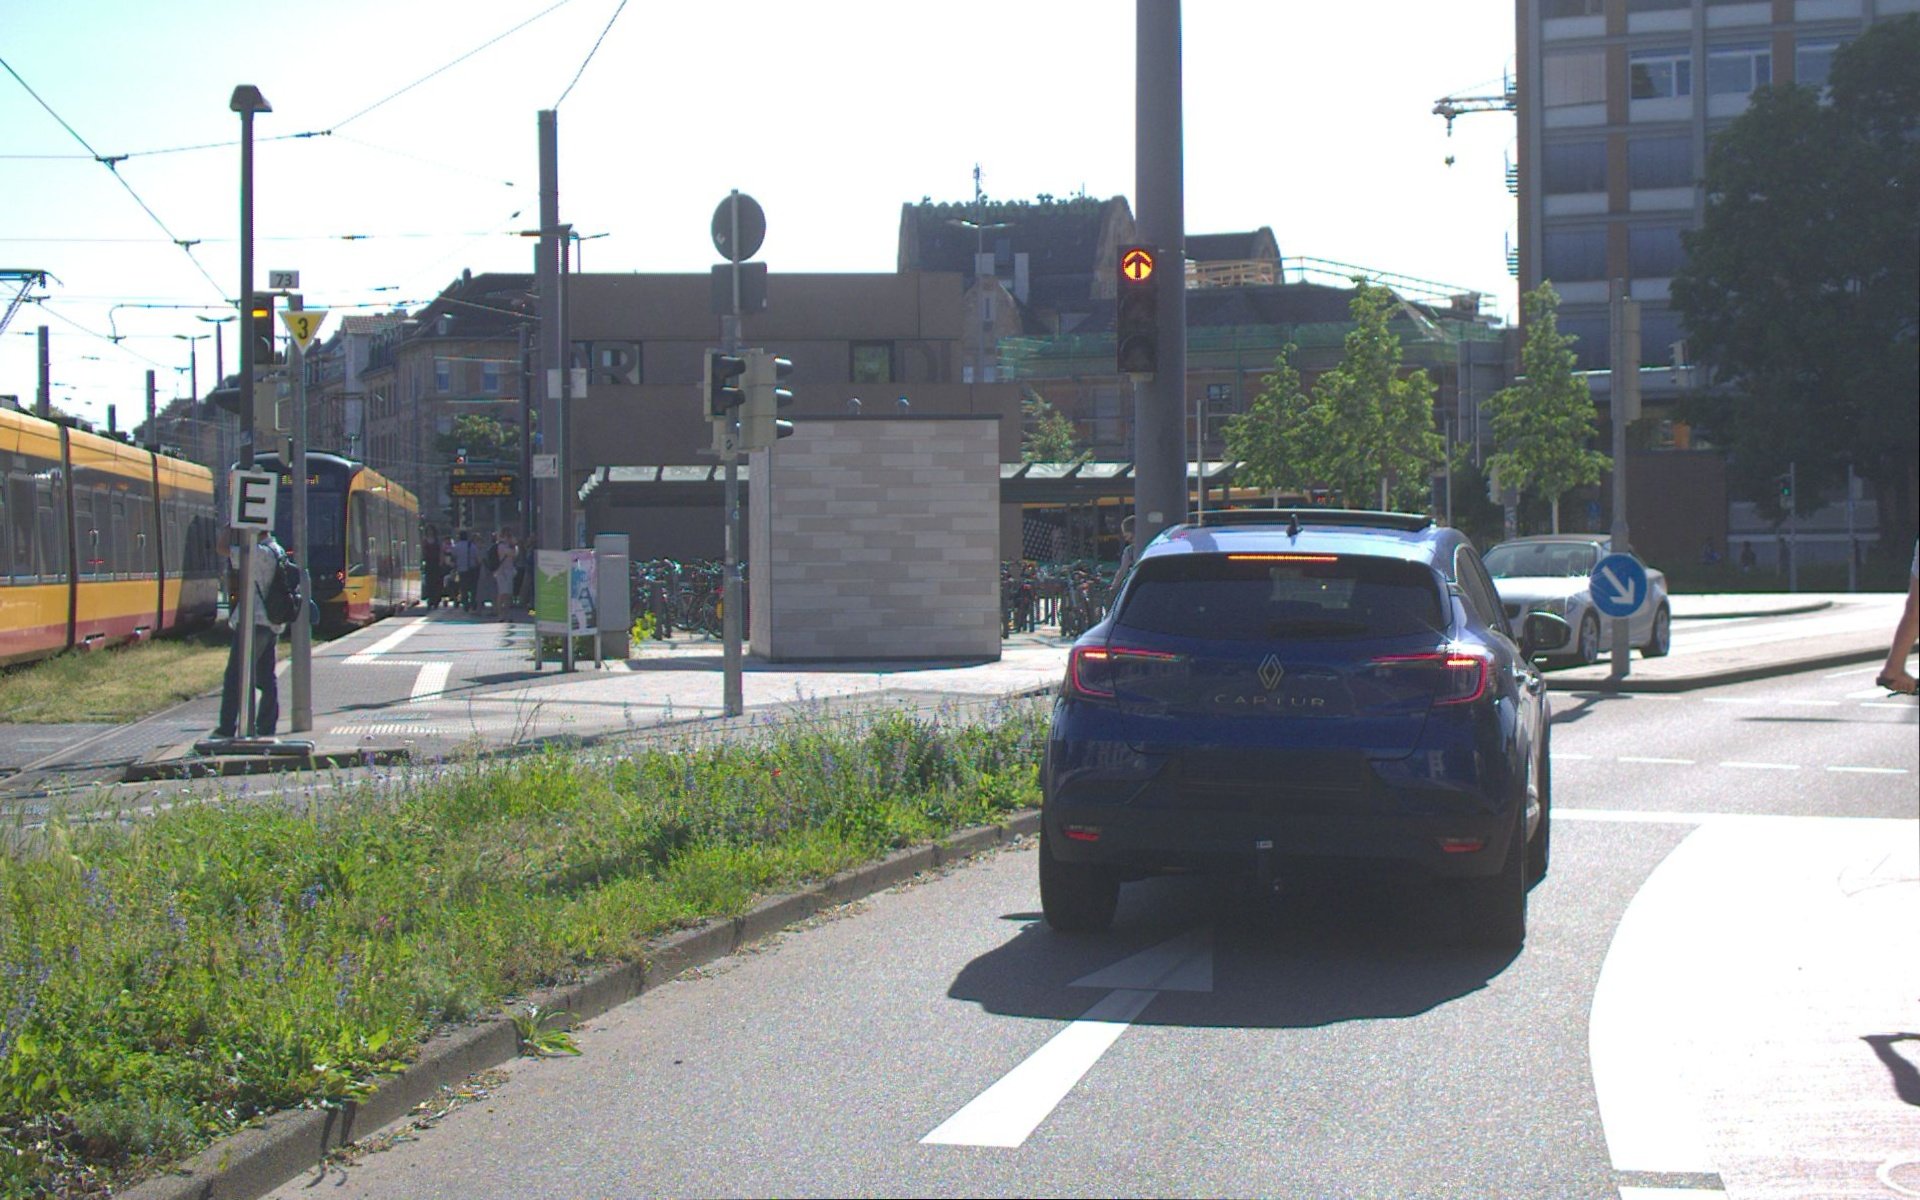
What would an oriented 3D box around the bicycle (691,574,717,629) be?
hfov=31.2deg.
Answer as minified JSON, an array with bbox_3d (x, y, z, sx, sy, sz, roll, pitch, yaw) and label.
[{"bbox_3d":[-4.537,0.019,60.915,0.421,0.934,1.379,1,1,-5],"label":"bicycle"}]

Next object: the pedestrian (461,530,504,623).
[{"bbox_3d":[-9.763,-0.471,70.287,0.847,1.877,0.761,1,0,-9],"label":"pedestrian"}]

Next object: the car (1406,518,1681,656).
[{"bbox_3d":[6.319,-0.166,36.897,1.802,1.388,4.087,0,1,26],"label":"car"}]

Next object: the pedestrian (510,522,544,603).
[{"bbox_3d":[-10.231,-0.883,81.177,0.739,1.911,0.743,1,0,-10],"label":"pedestrian"}]

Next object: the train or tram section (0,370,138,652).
[{"bbox_3d":[-13.512,-1.191,47.828,2.816,3.496,10.614,1,1,-7],"label":"train or tram section"}]

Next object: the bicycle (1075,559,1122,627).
[{"bbox_3d":[2.260,-0.105,56.190,0.580,1.084,2.059,1,0,-2],"label":"bicycle"}]

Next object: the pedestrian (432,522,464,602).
[{"bbox_3d":[-11.973,-0.887,80.429,0.632,1.850,0.703,1,0,-2],"label":"pedestrian"}]

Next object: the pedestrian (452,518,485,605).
[{"bbox_3d":[-10.649,-0.831,74.469,0.632,1.850,0.703,1,0,-12],"label":"pedestrian"}]

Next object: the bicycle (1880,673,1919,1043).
[{"bbox_3d":[3.375,0.800,11.214,0.663,1.043,1.889,0,1,13],"label":"bicycle"}]

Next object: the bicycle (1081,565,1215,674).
[{"bbox_3d":[1.947,0.186,35.317,0.774,1.077,2.033,-1,0,21],"label":"bicycle"}]

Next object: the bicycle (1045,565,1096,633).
[{"bbox_3d":[1.615,-0.013,50.497,0.580,0.958,2.059,1,0,-2],"label":"bicycle"}]

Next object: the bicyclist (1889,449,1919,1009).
[{"bbox_3d":[3.366,0.394,11.110,0.664,1.741,1.005,0,1,13],"label":"bicyclist"}]

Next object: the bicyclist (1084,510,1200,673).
[{"bbox_3d":[1.872,-0.092,35.270,0.881,1.639,1.059,-1,0,21],"label":"bicyclist"}]

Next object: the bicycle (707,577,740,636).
[{"bbox_3d":[-3.860,0.094,56.113,0.421,0.934,1.306,1,1,-8],"label":"bicycle"}]

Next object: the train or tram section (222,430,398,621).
[{"bbox_3d":[-12.788,-1.437,68.414,2.870,3.496,10.546,0,1,-8],"label":"train or tram section"}]

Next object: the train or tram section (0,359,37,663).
[{"bbox_3d":[-12.162,-0.981,37.371,2.816,3.496,10.482,-1,1,-8],"label":"train or tram section"}]

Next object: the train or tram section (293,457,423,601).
[{"bbox_3d":[-15.526,-1.825,89.243,2.870,3.496,10.546,0,1,-8],"label":"train or tram section"}]

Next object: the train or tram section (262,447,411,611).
[{"bbox_3d":[-14.182,-1.597,78.842,2.870,3.496,10.546,0,1,-8],"label":"train or tram section"}]

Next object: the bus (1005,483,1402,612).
[{"bbox_3d":[6.633,-1.433,96.632,2.874,3.384,12.439,1,0,-43],"label":"bus"}]

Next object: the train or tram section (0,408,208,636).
[{"bbox_3d":[-14.827,-1.295,58.597,2.816,3.496,11.213,1,1,-7],"label":"train or tram section"}]

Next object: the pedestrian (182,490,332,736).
[{"bbox_3d":[-5.333,0.100,26.060,1.016,1.826,0.761,1,0,-18],"label":"pedestrian"}]

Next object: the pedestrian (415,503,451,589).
[{"bbox_3d":[-11.770,-1.203,76.811,0.740,1.911,0.742,1,0,-8],"label":"pedestrian"}]

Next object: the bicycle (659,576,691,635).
[{"bbox_3d":[-4.633,0.083,55.870,0.421,0.934,1.306,1,1,-9],"label":"bicycle"}]

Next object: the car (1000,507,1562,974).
[{"bbox_3d":[1.430,0.454,13.920,1.824,1.594,3.657,1,1,12],"label":"car"}]

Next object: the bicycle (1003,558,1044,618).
[{"bbox_3d":[1.173,-0.225,63.772,0.580,1.084,1.872,1,0,-5],"label":"bicycle"}]

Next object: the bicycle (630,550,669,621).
[{"bbox_3d":[-4.881,-0.220,54.165,0.566,1.090,2.029,1,0,-4],"label":"bicycle"}]

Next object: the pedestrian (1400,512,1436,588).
[{"bbox_3d":[11.204,-1.219,84.145,0.725,1.850,0.703,1,0,-4],"label":"pedestrian"}]

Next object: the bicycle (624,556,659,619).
[{"bbox_3d":[-5.602,-0.217,60.603,0.566,1.090,2.029,1,0,-4],"label":"bicycle"}]

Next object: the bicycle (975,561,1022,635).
[{"bbox_3d":[0.561,-0.028,50.245,0.580,1.054,1.816,1,0,-2],"label":"bicycle"}]

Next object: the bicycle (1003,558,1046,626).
[{"bbox_3d":[1.050,-0.122,56.262,0.580,1.084,2.059,1,0,-2],"label":"bicycle"}]
